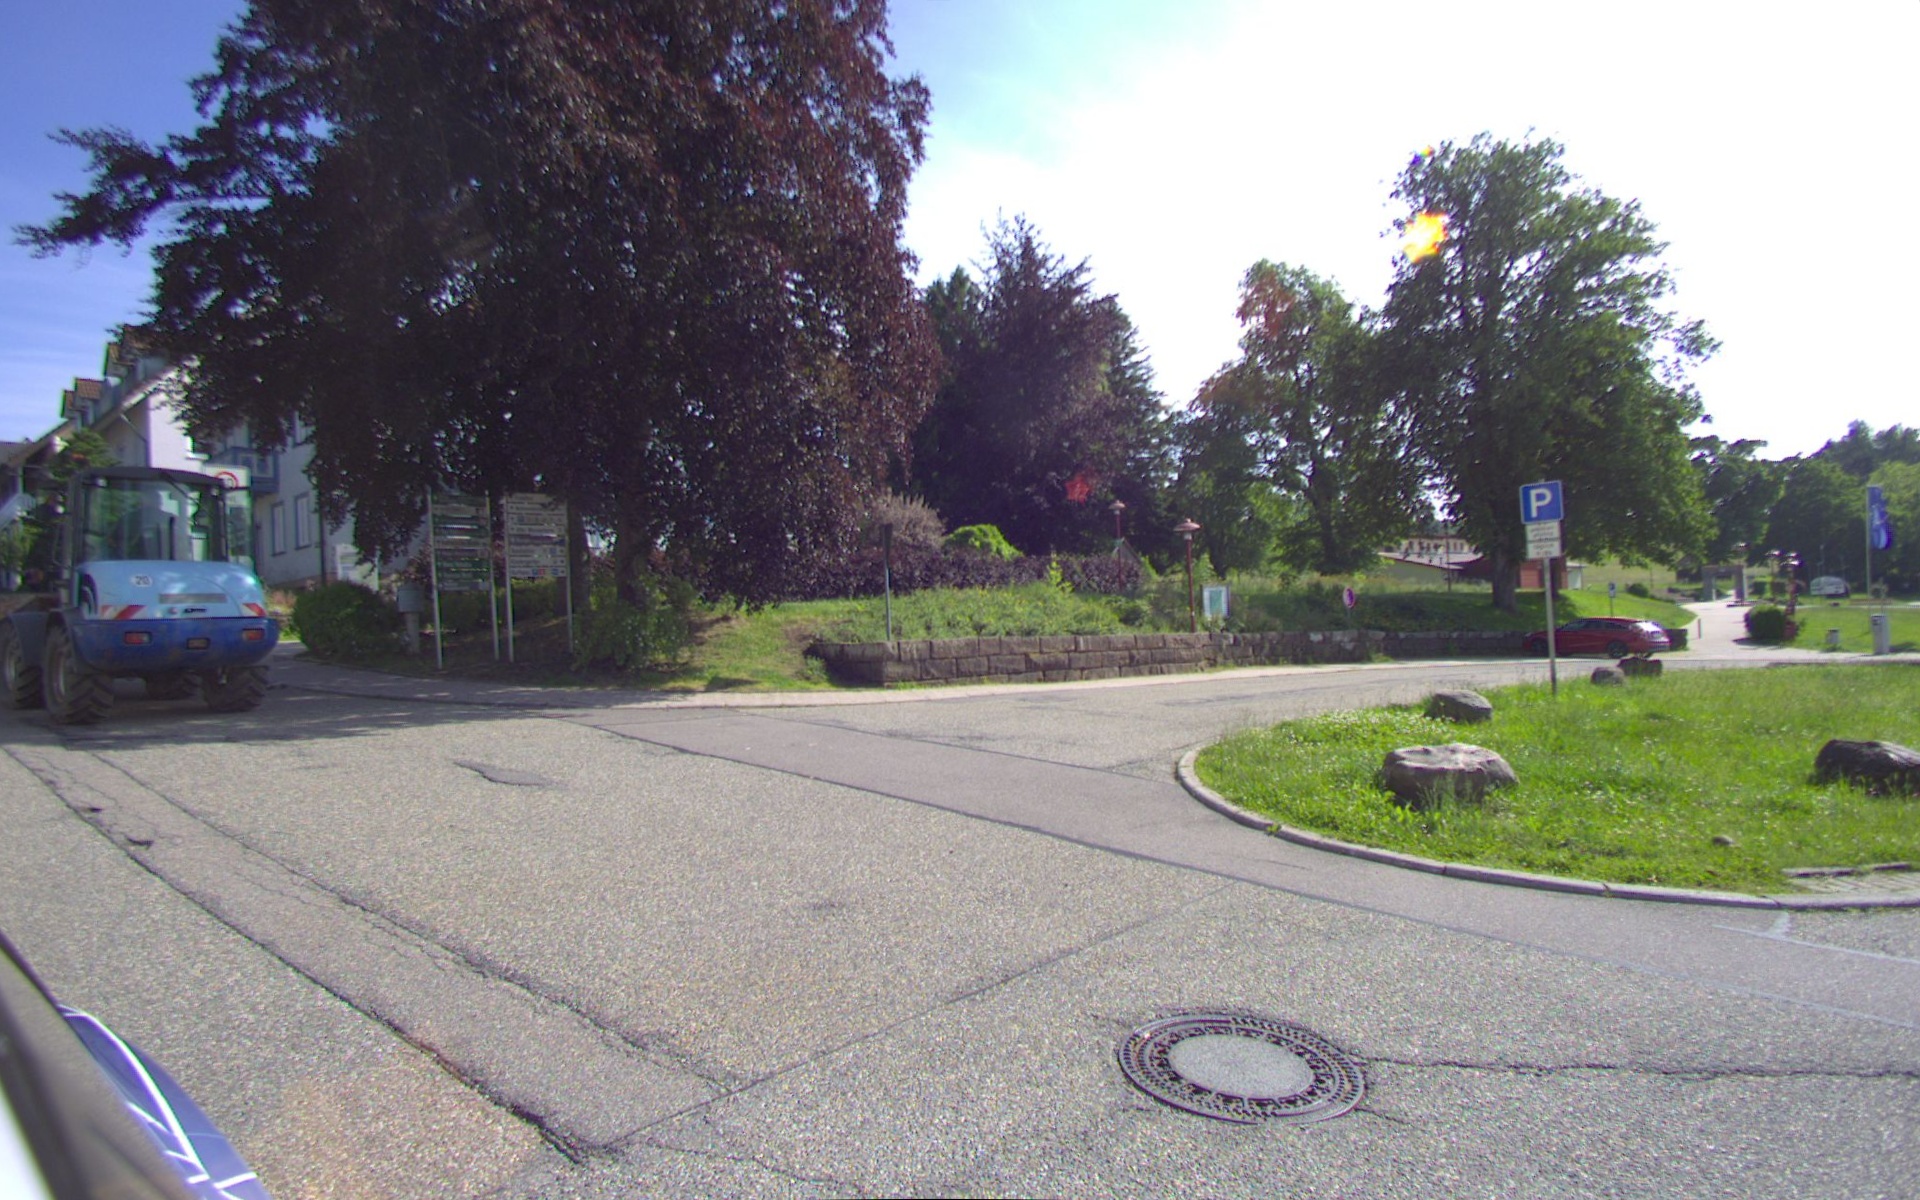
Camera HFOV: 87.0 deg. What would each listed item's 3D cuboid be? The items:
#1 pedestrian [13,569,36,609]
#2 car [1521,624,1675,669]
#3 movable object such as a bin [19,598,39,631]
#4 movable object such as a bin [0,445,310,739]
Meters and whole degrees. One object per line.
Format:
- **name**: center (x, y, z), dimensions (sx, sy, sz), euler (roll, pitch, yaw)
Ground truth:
- **pedestrian**: center (-37.673, -0.456, 40.762), dimensions (0.658, 1.587, 0.781), euler (1, 0, -42)
- **car**: center (22.332, 1.577, 35.603), dimensions (1.792, 1.409, 4.252), euler (1, -1, -27)
- **movable object such as a bin**: center (-24.978, 0.381, 27.160), dimensions (0.395, 0.870, 0.346), euler (1, 0, 40)
- **movable object such as a bin**: center (-9.893, -0.108, 11.907), dimensions (5.093, 2.790, 1.976), euler (1, 0, 35)
